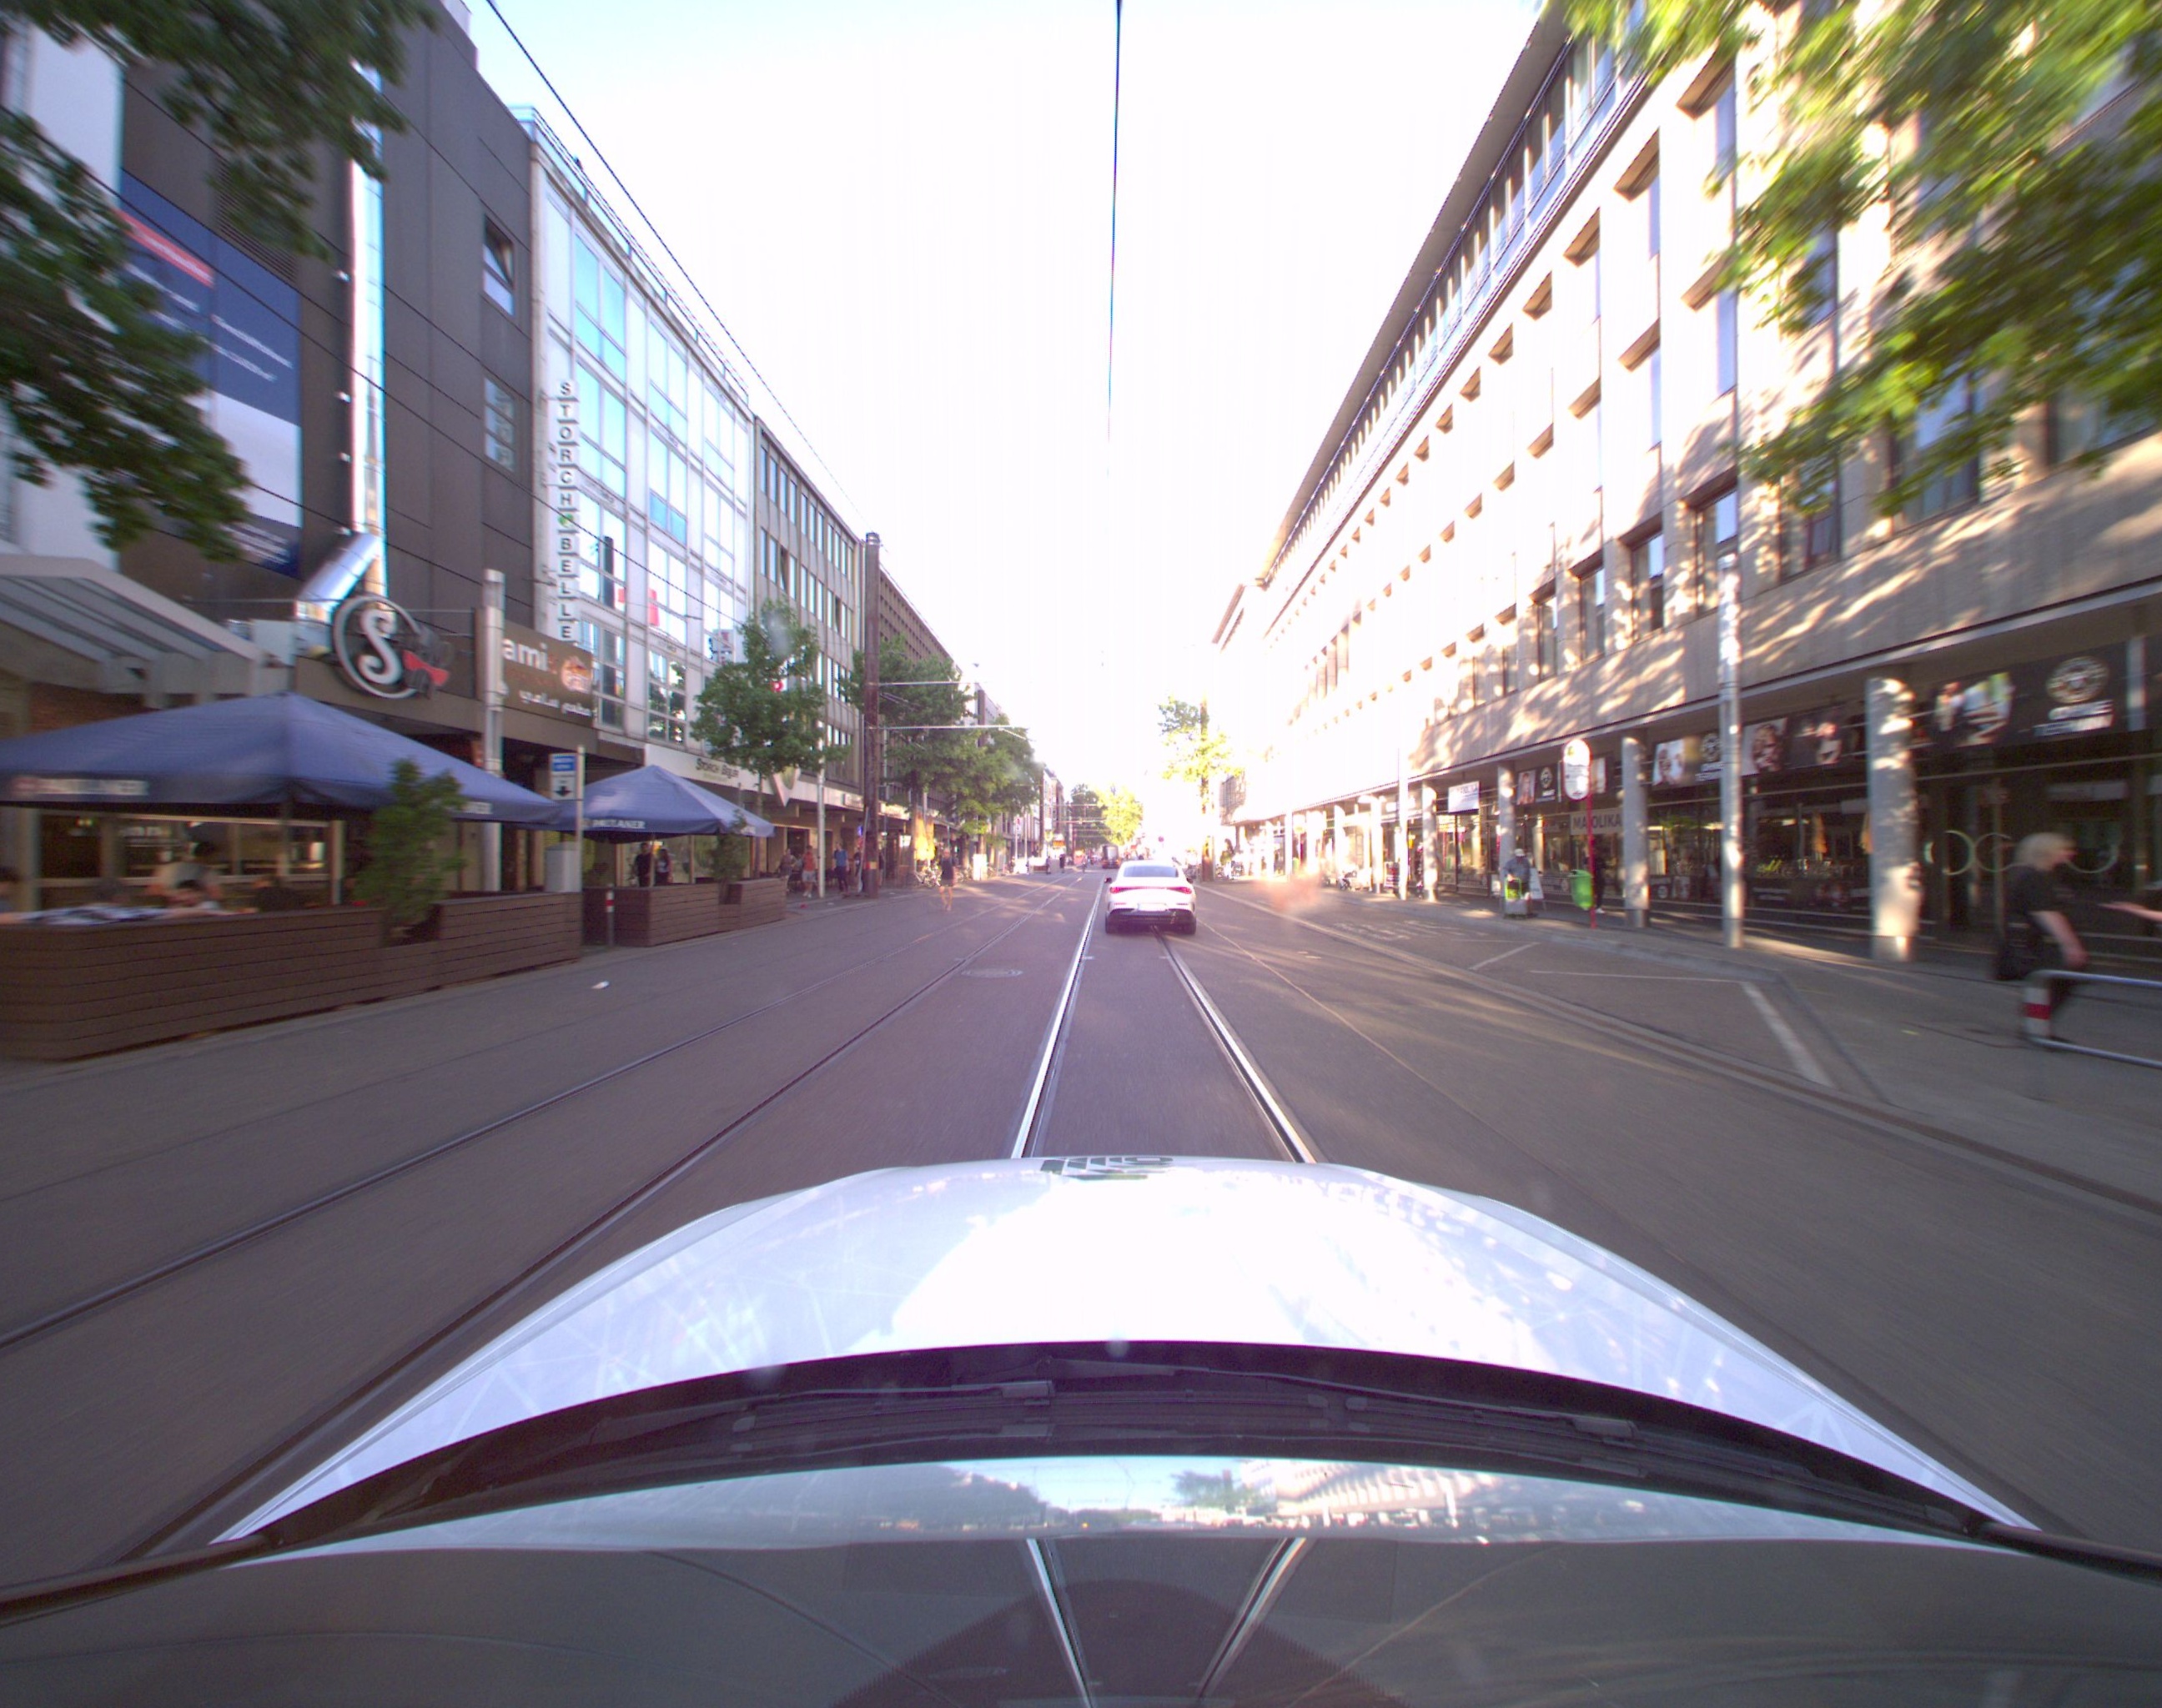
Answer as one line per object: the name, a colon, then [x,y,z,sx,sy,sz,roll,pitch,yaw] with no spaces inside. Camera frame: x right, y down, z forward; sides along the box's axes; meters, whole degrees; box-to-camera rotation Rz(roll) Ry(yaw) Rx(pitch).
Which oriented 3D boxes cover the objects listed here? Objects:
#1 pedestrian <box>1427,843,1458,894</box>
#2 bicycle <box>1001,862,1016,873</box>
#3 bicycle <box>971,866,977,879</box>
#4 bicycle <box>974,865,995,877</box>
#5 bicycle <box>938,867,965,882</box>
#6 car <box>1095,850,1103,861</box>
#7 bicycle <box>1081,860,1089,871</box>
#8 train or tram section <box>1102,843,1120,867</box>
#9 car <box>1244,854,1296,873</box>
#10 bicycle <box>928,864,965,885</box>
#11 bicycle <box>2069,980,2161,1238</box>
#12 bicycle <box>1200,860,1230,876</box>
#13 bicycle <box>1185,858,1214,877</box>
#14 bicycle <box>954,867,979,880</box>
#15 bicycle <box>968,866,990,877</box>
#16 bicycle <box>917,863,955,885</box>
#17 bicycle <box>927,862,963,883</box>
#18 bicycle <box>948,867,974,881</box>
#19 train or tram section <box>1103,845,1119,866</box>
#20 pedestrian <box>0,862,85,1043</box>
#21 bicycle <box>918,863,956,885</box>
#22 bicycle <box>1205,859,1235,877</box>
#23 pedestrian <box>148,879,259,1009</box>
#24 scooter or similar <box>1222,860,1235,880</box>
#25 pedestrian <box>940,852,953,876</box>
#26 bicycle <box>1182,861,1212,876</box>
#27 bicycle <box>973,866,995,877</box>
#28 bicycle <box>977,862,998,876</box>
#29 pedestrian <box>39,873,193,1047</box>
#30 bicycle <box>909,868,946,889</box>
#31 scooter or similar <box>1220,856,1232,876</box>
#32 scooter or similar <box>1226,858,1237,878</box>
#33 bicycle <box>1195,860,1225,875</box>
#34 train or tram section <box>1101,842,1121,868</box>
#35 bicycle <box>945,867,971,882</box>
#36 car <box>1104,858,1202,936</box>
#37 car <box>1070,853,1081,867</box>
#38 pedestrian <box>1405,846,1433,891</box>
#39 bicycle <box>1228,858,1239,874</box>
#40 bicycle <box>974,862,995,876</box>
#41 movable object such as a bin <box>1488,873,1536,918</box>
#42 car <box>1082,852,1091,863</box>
pedestrian: [12.908,0.512,29.099,0.741,1.793,0.858,0,0,2]
bicycle: [-7.176,1.331,80.825,0.713,1.010,2.048,-1,0,16]
bicycle: [-6.631,1.145,50.482,0.343,0.783,1.402,1,0,-6]
bicycle: [-6.888,1.222,58.209,1.486,0.783,0.345,1,0,3]
bicycle: [-7.459,1.195,47.077,1.486,0.841,0.345,1,0,3]
car: [4.861,0.383,219.606,2.091,2.897,5.278,-1,0,2]
bicycle: [0.452,1.194,84.447,0.797,1.142,2.257,1,0,1]
train or tram section: [4.847,0.162,130.800,2.684,3.516,12.551,-1,0,2]
car: [15.420,0.753,66.549,3.793,1.473,1.647,-1,0,-4]
bicycle: [-6.891,1.058,41.786,1.842,1.077,0.377,1,0,-3]
bicycle: [4.645,1.076,2.618,0.714,0.995,2.065,1,0,11]
bicycle: [9.824,1.014,59.826,2.114,1.096,0.607,-1,-1,-11]
bicycle: [8.390,0.957,57.544,1.908,1.281,0.608,-2,-1,-10]
bicycle: [-6.966,1.198,49.494,1.486,0.783,0.345,1,0,3]
bicycle: [-7.112,1.216,56.762,1.486,0.783,0.345,1,0,3]
bicycle: [-7.145,0.976,40.124,1.784,1.077,0.377,1,0,-3]
bicycle: [-7.415,1.007,44.376,1.838,1.141,0.377,1,0,3]
bicycle: [-7.187,1.203,48.805,1.486,0.783,0.345,1,0,3]
train or tram section: [5.289,0.195,142.638,2.684,3.516,11.148,-1,0,2]
pedestrian: [-8.856,0.783,6.709,0.547,1.429,0.583,1,0,1]
bicycle: [-7.174,0.996,40.579,1.784,1.077,0.377,1,0,-3]
bicycle: [9.686,0.962,56.736,1.908,1.156,0.608,-2,-1,-10]
pedestrian: [-8.690,0.871,8.085,0.493,1.228,0.535,1,0,1]
scooter or similar: [9.520,1.011,52.570,0.527,1.277,0.658,-2,0,-9]
pedestrian: [-9.901,0.738,59.949,0.789,1.767,0.533,-1,-1,-23]
bicycle: [8.645,1.076,60.505,2.113,1.096,0.608,0,-1,-10]
bicycle: [-6.925,1.228,57.972,1.486,0.783,0.345,1,0,3]
bicycle: [-6.831,1.095,59.607,1.492,1.029,0.343,1,0,-9]
pedestrian: [-7.916,0.840,6.703,0.547,1.356,0.583,1,0,1]
bicycle: [-7.048,1.133,37.356,1.586,0.930,0.378,1,0,8]
scooter or similar: [9.437,0.779,53.139,0.527,1.277,0.658,-2,0,-9]
scooter or similar: [9.590,0.881,51.914,0.491,1.277,0.658,-2,0,-9]
bicycle: [9.835,1.027,62.026,2.113,1.096,0.608,-1,-1,-10]
train or tram section: [4.372,0.132,118.249,2.684,3.516,12.551,-1,0,2]
bicycle: [-7.248,1.213,48.076,1.486,0.841,0.345,1,0,3]
car: [1.434,0.825,17.560,1.850,1.455,4.177,0,0,2]
car: [-1.069,1.225,168.877,1.985,2.897,5.278,-1,0,2]
pedestrian: [12.968,0.560,31.301,0.741,1.700,0.858,0,0,2]
bicycle: [11.084,0.869,59.123,0.562,1.127,1.932,-2,0,5]
bicycle: [-6.981,1.098,59.171,1.492,1.009,0.343,1,0,-9]
movable object such as a bin: [9.378,0.898,17.746,0.687,0.924,0.718,1,0,2]
car: [1.279,0.713,187.622,1.902,2.461,5.278,-1,0,2]
